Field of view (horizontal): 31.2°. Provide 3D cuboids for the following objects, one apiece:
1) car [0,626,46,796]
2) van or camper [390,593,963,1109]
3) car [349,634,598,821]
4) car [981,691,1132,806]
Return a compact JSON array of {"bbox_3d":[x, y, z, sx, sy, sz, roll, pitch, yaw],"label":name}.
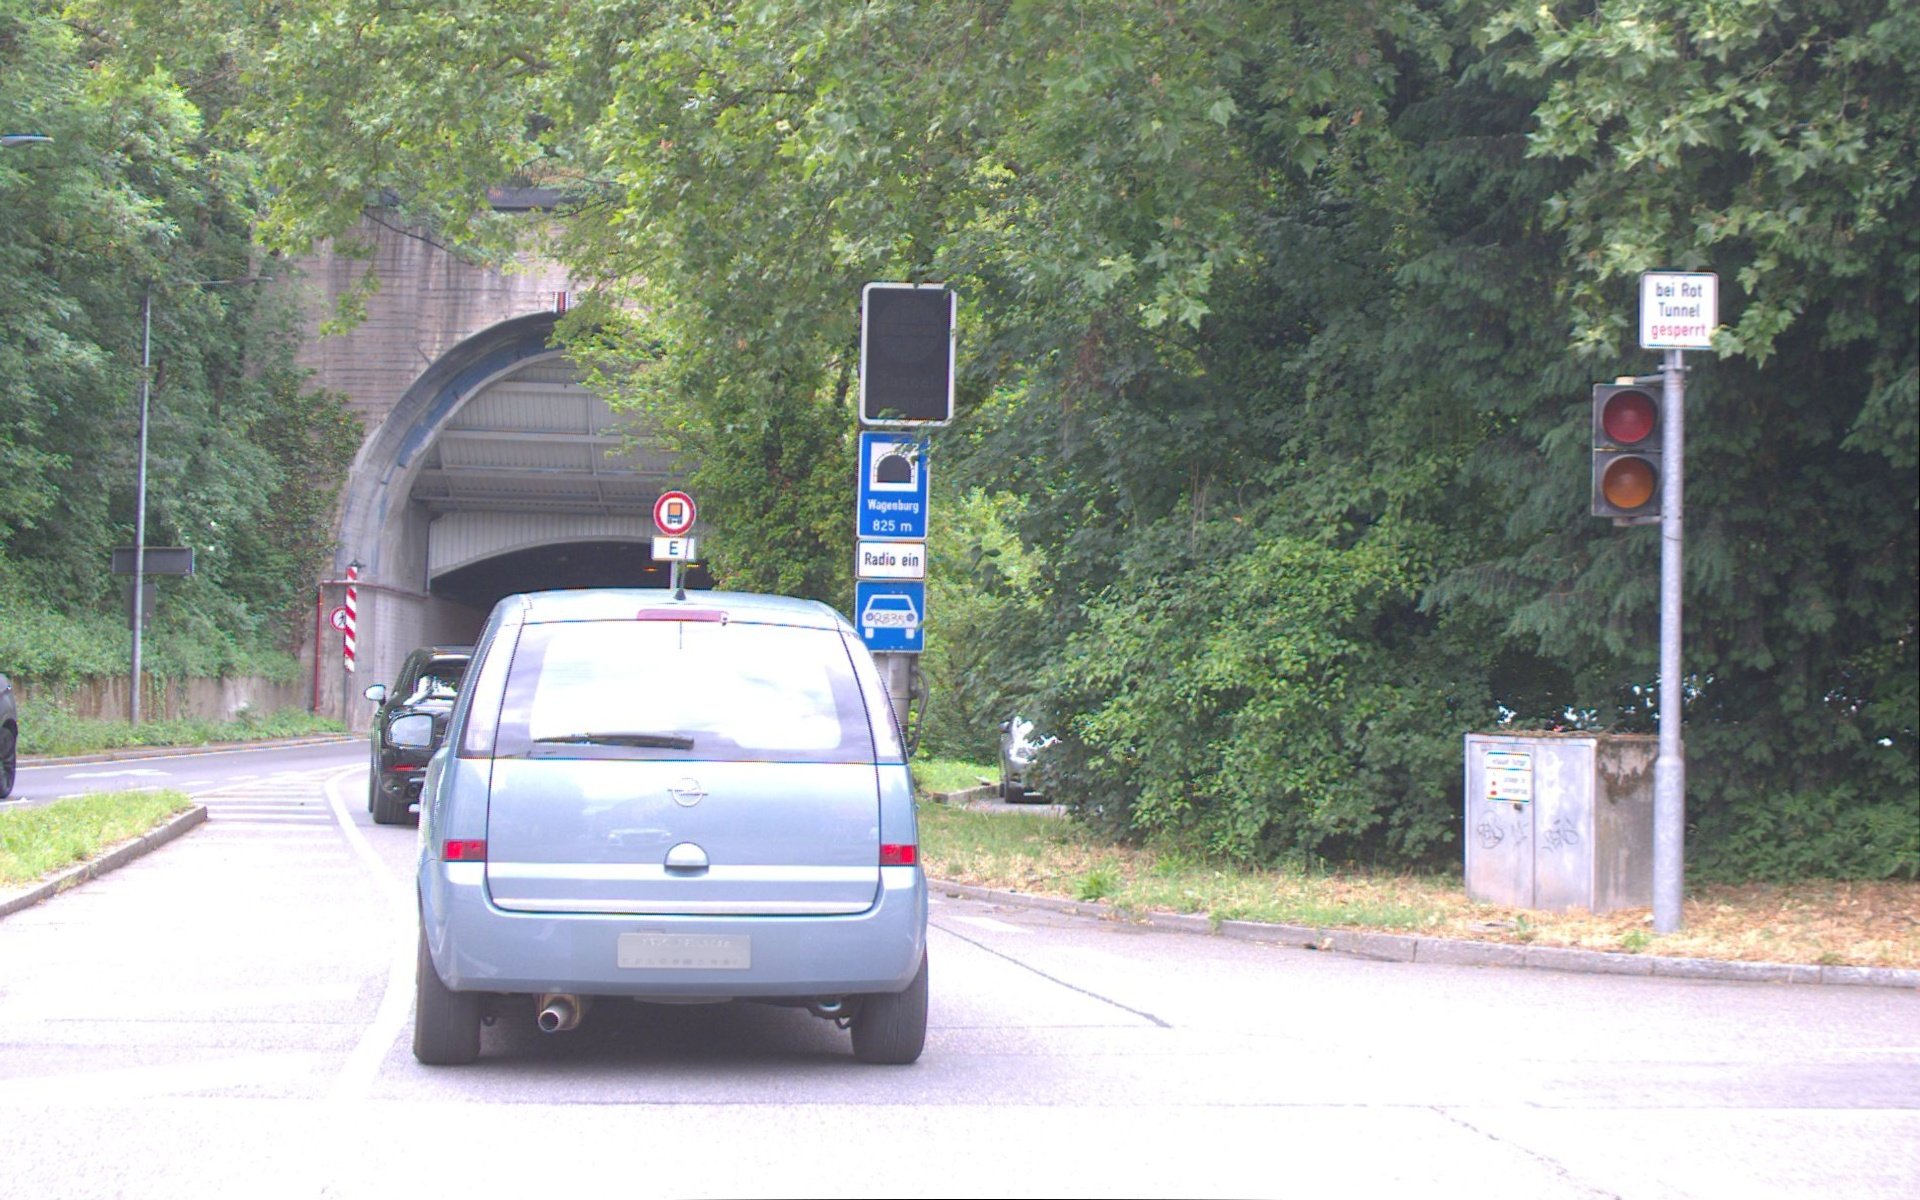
[{"bbox_3d":[-10.491,1.065,33.283,1.870,1.693,4.935,1,-1,1],"label":"car"},{"bbox_3d":[-1.160,0.788,12.416,1.735,1.572,3.646,1,-1,-10],"label":"van or camper"},{"bbox_3d":[-4.660,1.180,32.484,1.993,1.648,4.001,1,-1,-13],"label":"car"},{"bbox_3d":[1.247,1.960,46.387,1.785,1.437,5.062,1,-1,-1],"label":"car"}]
